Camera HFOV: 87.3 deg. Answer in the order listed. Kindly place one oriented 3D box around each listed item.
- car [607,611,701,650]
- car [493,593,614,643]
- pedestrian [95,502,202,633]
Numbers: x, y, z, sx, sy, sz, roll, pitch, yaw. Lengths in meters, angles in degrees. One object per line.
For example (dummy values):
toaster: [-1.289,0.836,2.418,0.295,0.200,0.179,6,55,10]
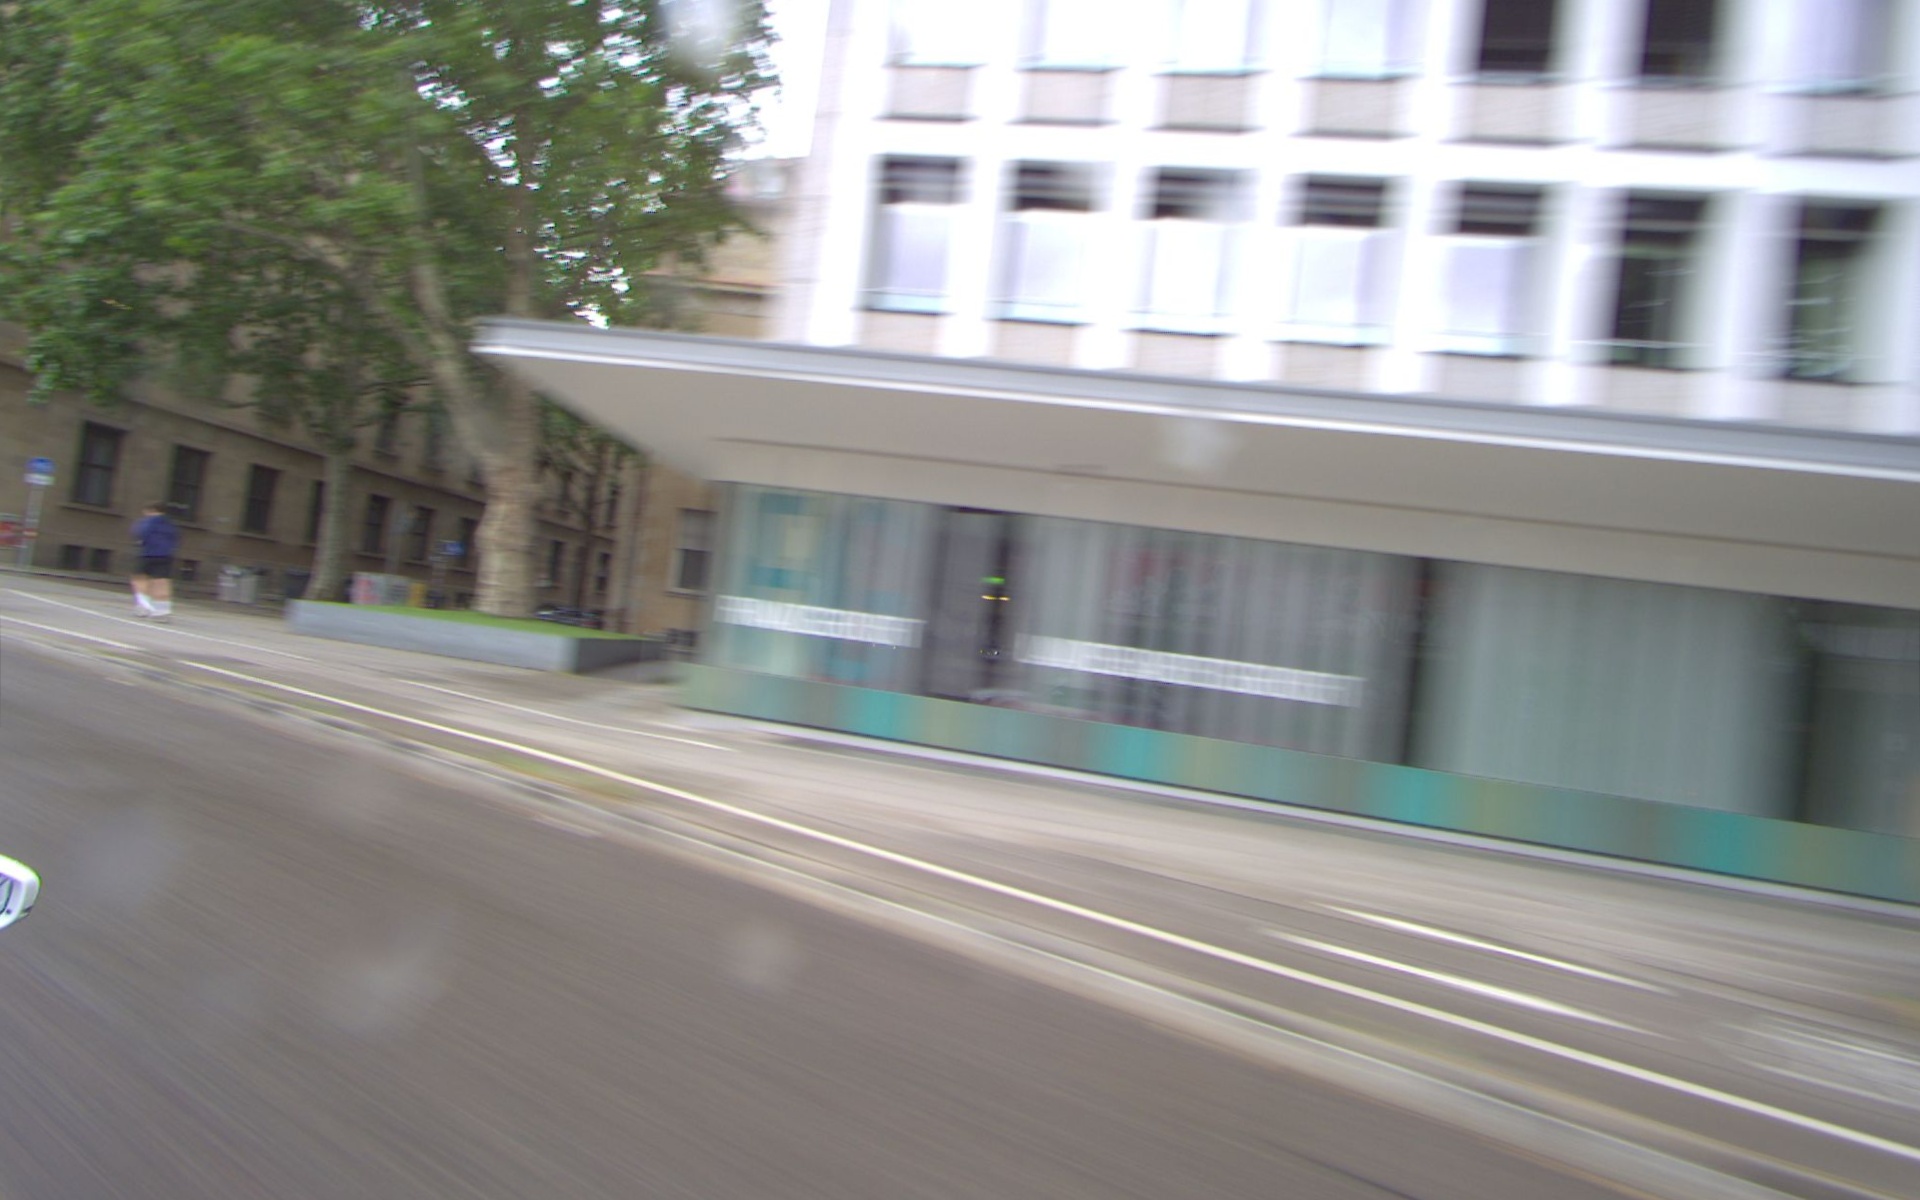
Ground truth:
car: [-17.339,1.712,57.092,4.593,1.481,1.889,9,0,2]
car: [-17.950,0.793,44.573,4.458,1.481,1.889,9,0,5]
pedestrian: [-12.137,-0.486,15.057,0.848,1.792,0.781,7,-2,29]
